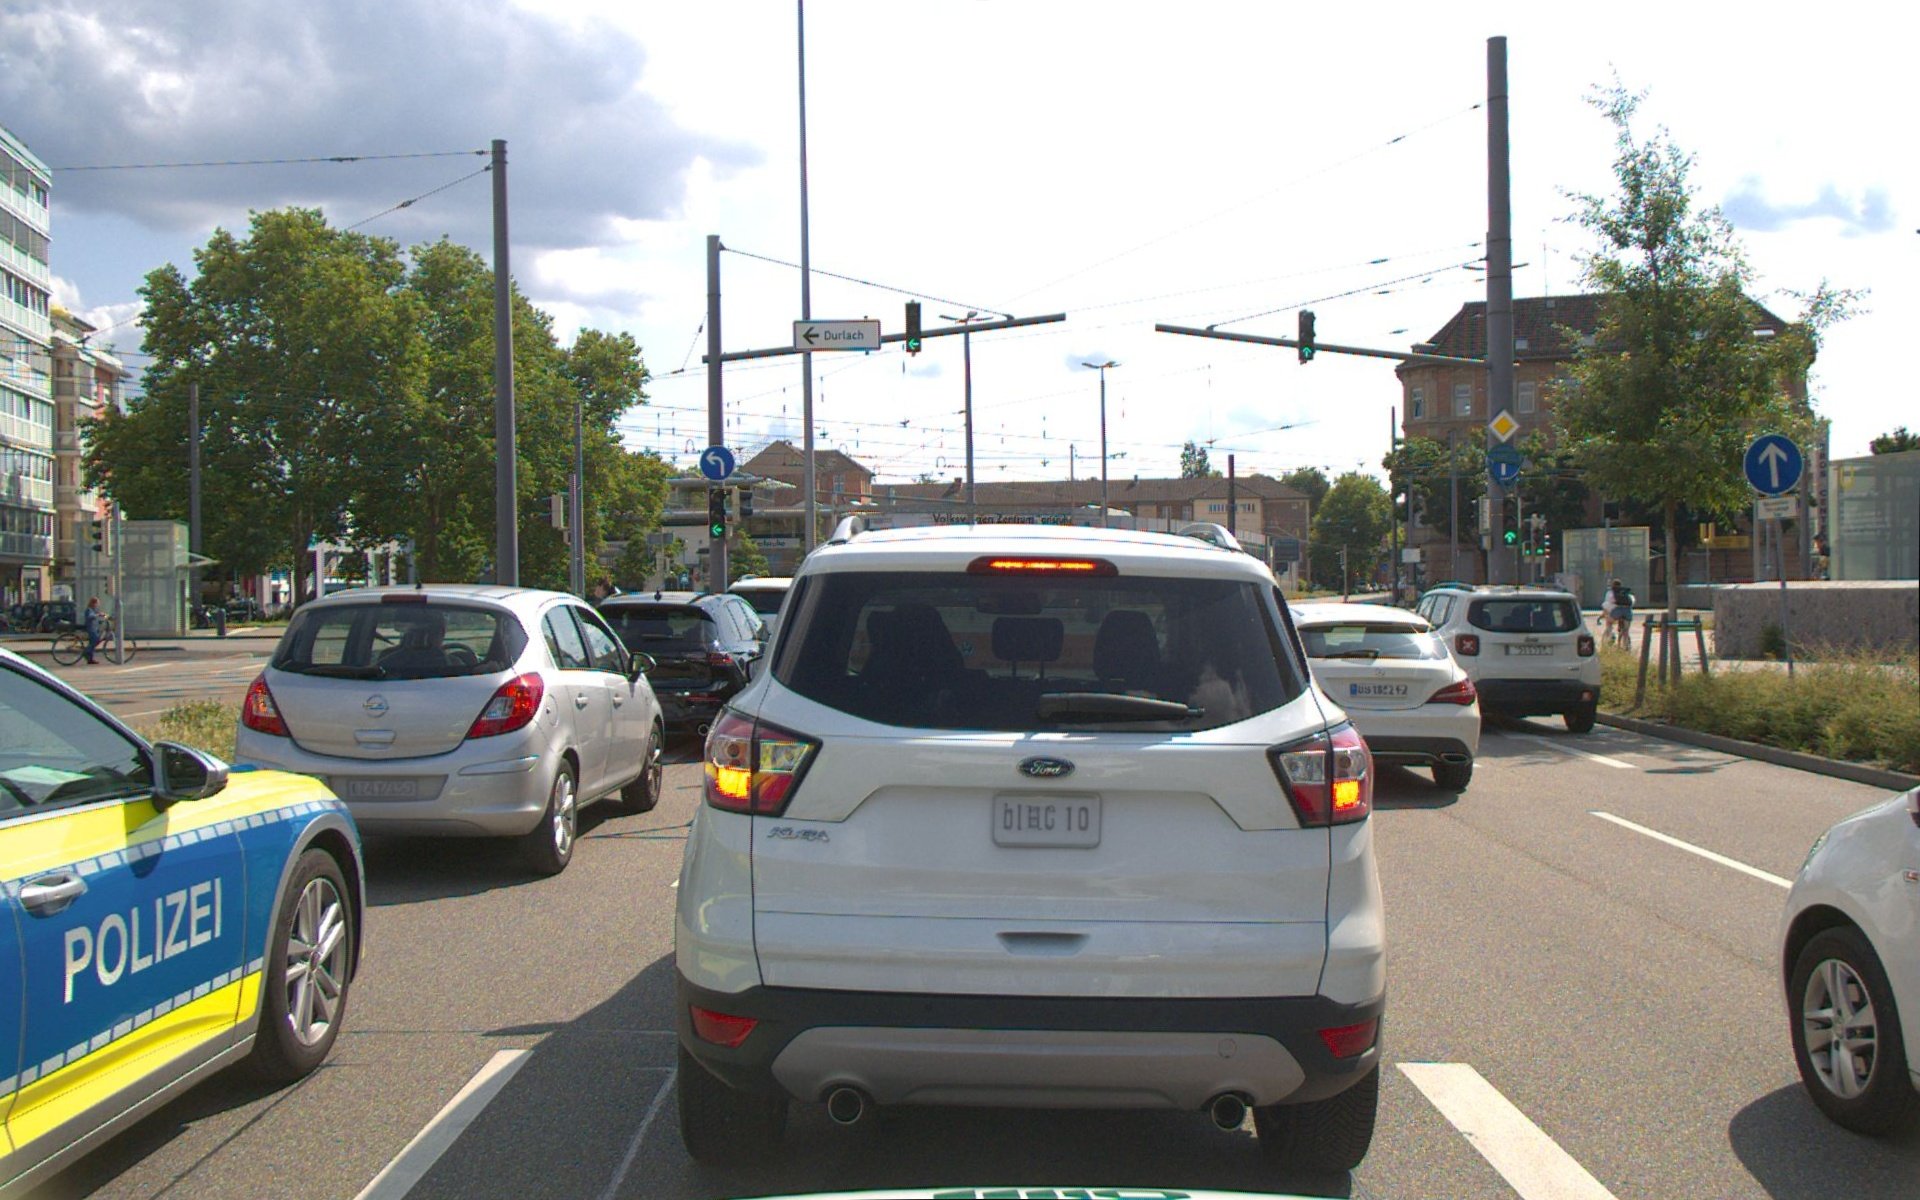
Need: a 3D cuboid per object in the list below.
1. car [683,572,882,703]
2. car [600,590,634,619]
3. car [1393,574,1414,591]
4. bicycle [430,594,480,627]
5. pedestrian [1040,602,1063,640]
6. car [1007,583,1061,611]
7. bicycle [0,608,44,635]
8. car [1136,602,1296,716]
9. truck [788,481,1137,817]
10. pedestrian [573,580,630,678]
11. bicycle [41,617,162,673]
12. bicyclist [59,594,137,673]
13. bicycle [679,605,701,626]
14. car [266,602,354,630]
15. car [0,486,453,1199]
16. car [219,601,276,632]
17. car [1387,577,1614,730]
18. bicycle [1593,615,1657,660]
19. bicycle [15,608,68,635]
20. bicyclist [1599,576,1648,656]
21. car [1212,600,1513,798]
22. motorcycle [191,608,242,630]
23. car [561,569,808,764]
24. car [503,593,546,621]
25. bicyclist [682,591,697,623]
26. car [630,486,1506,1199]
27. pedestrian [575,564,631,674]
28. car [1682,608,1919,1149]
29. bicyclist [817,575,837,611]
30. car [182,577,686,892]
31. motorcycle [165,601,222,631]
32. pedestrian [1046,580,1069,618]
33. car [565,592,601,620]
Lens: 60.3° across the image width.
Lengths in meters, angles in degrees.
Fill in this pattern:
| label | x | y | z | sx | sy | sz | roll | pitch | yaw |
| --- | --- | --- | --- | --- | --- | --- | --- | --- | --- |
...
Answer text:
| label | x | y | z | sx | sy | sz | roll | pitch | yaw |
| --- | --- | --- | --- | --- | --- | --- | --- | --- | --- |
| car | -2.308 | 0.456 | 22.726 | 1.997 | 1.606 | 4.541 | 0 | 0 | 3 |
| car | -25.528 | 0.345 | 123.245 | 1.955 | 2.049 | 4.226 | -2 | -1 | -5 |
| car | 45.565 | -1.755 | 169.816 | 1.798 | 1.681 | 4.001 | 0 | 0 | 19 |
| bicycle | -22.778 | 0.465 | 74.576 | 2.133 | 1.439 | 0.809 | 0 | 1 | -16 |
| pedestrian | 4.373 | 1.001 | 79.433 | 0.913 | 1.774 | 0.584 | 1 | -1 | -27 |
| car | 4.238 | -0.201 | 93.748 | 1.860 | 1.487 | 3.969 | -2 | 0 | 21 |
| bicycle | -40.942 | 0.932 | 71.995 | 1.776 | 1.167 | 0.792 | -1 | 0 | -19 |
| car | 3.443 | 0.751 | 22.827 | 1.811 | 1.443 | 3.680 | 0 | 0 | 3 |
| truck | 0.122 | 0.312 | 13.904 | 2.290 | 2.193 | 5.853 | 1 | 0 | 2 |
| pedestrian | -6.275 | 0.507 | 29.013 | 0.830 | 1.676 | 0.692 | -1 | -1 | -1 |
| bicycle | -19.807 | 1.030 | 38.194 | 2.248 | 1.209 | 0.994 | -2 | 0 | -4 |
| bicyclist | -19.896 | 0.761 | 38.195 | 1.271 | 1.761 | 0.994 | -1 | 0 | -3 |
| bicycle | -15.080 | 0.860 | 92.270 | 0.631 | 1.145 | 1.767 | -1 | 1 | -29 |
| car | -33.802 | 0.843 | 86.065 | 3.907 | 1.350 | 1.632 | -2 | -1 | -3 |
| car | -2.607 | 0.608 | 3.262 | 1.842 | 1.595 | 4.614 | -1 | 0 | -1 |
| car | -35.665 | 0.842 | 82.896 | 1.872 | 1.438 | 3.987 | -1 | -1 | -12 |
| car | 6.483 | 0.595 | 20.266 | 1.797 | 1.681 | 4.002 | 0 | 0 | 5 |
| bicycle | 12.590 | 0.704 | 31.344 | 0.572 | 0.789 | 1.621 | -1 | 0 | 1 |
| bicycle | -40.696 | 0.955 | 73.303 | 1.914 | 1.167 | 0.792 | -1 | 0 | -19 |
| bicyclist | 12.583 | 0.299 | 31.383 | 0.595 | 1.476 | 0.774 | -1 | 0 | 1 |
| car | 3.236 | 0.727 | 13.983 | 1.811 | 1.443 | 3.680 | 0 | 0 | 3 |
| motorcycle | -34.304 | 0.873 | 76.315 | 0.795 | 0.933 | 2.037 | 0 | 1 | 36 |
| car | -2.530 | 0.552 | 16.211 | 1.727 | 1.595 | 4.525 | 2 | 0 | -2 |
| car | -32.720 | 0.571 | 124.484 | 1.928 | 1.971 | 5.067 | -2 | -1 | -1 |
| bicyclist | -15.073 | 0.361 | 92.275 | 0.631 | 1.768 | 0.655 | 0 | 1 | -30 |
| car | 0.309 | 0.616 | 5.380 | 1.789 | 1.693 | 3.957 | 0 | 0 | 3 |
| pedestrian | -6.431 | 0.342 | 29.820 | 0.830 | 1.950 | 0.692 | -1 | -1 | -1 |
| car | 3.413 | 0.771 | 3.834 | 1.616 | 1.447 | 3.999 | 2 | 0 | -2 |
| bicyclist | -6.431 | -0.340 | 80.128 | 0.743 | 1.712 | 0.761 | -2 | 0 | 14 |
| car | -2.875 | 0.644 | 10.013 | 1.810 | 1.500 | 3.999 | -1 | 0 | -1 |
| motorcycle | -33.138 | 0.686 | 71.490 | 2.165 | 1.259 | 0.906 | -1 | 1 | 17 |
| pedestrian | 4.632 | -0.038 | 78.742 | 0.913 | 1.774 | 0.584 | 1 | -1 | -28 |
| car | -28.135 | 0.472 | 123.460 | 1.929 | 1.971 | 4.226 | -2 | -1 | -5 |
